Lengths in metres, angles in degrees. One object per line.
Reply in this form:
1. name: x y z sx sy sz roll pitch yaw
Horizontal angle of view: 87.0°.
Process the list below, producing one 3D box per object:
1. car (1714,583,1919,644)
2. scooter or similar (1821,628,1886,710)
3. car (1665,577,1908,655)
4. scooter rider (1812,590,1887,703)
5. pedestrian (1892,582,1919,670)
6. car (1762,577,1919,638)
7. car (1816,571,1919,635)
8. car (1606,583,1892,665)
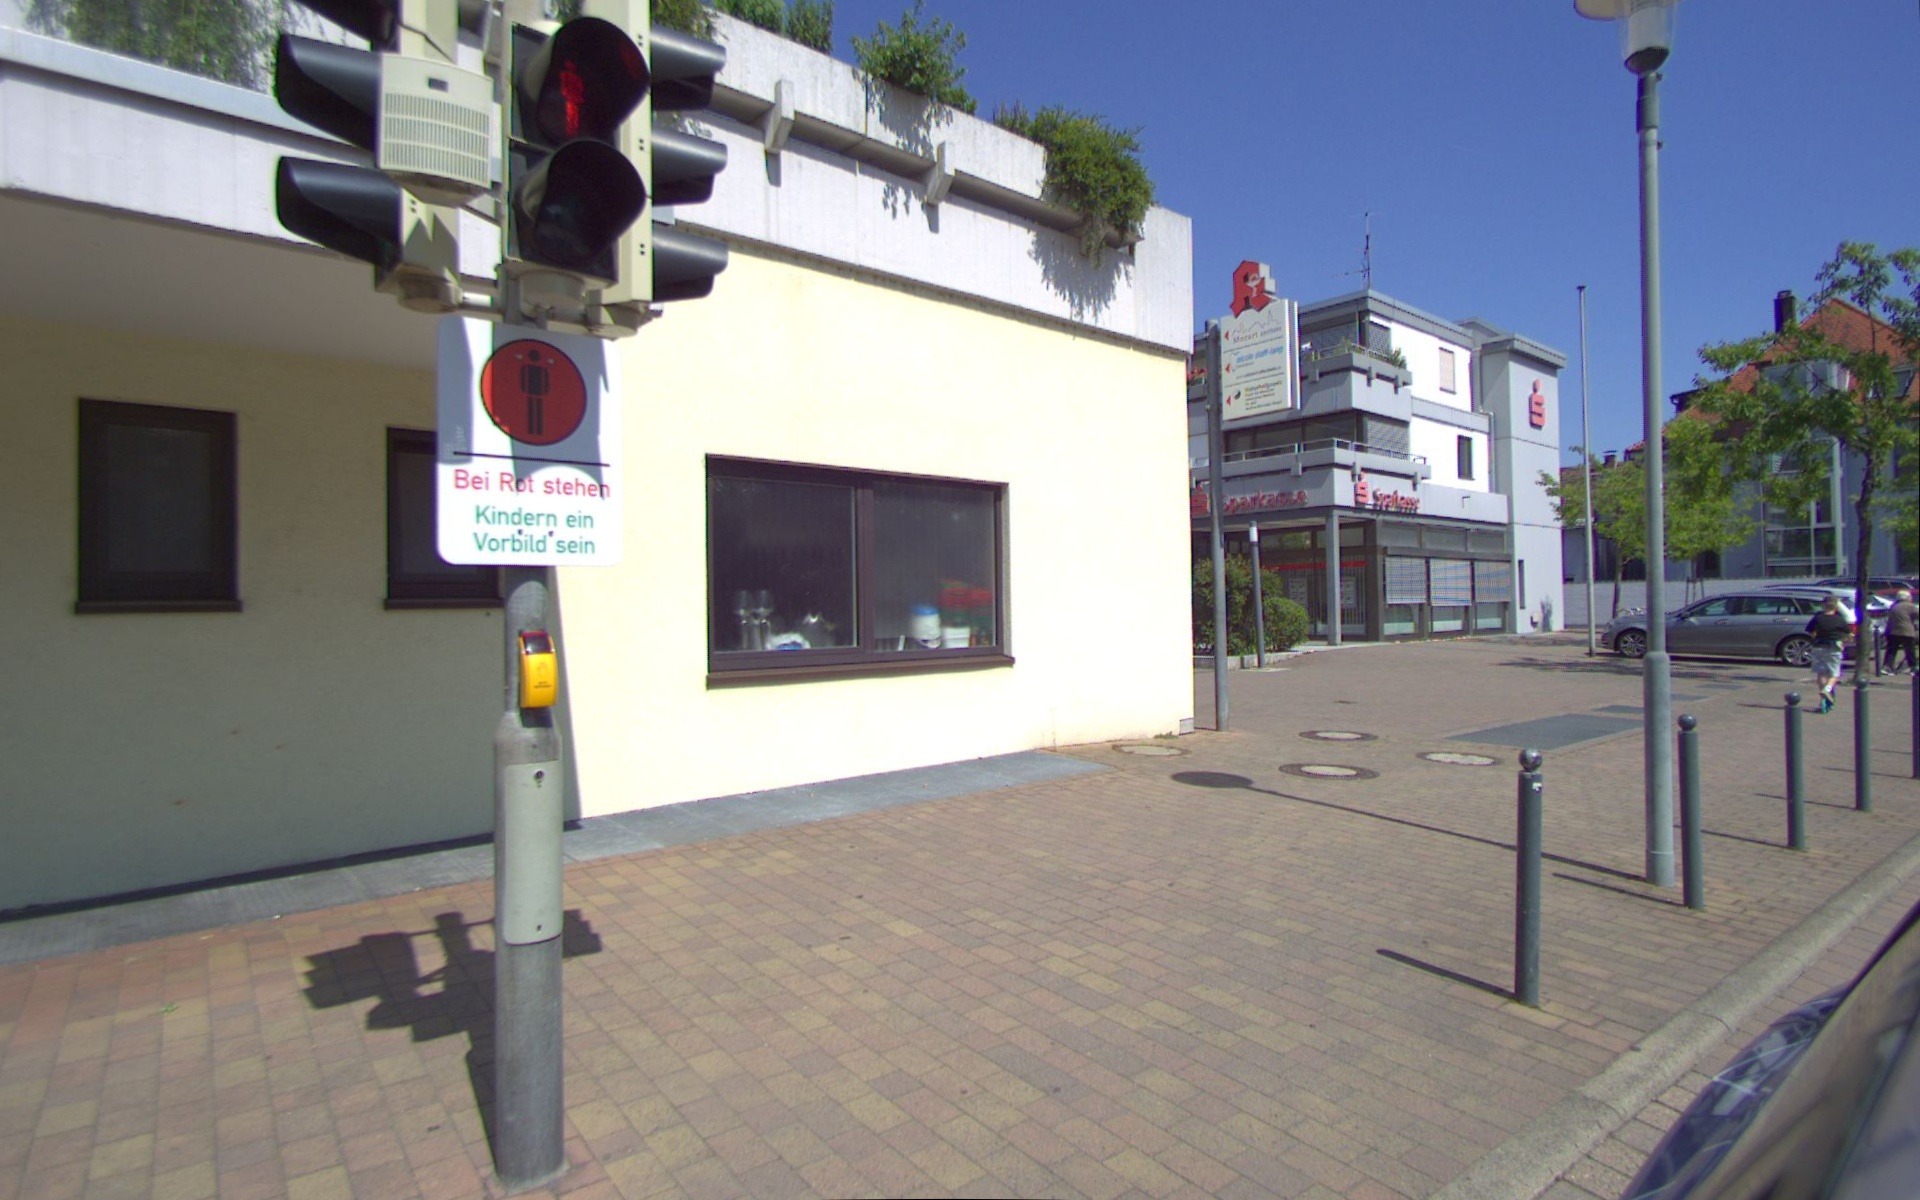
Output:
1. car: 22.189 0.286 25.942 1.630 1.460 4.434 -1 1 -45
2. scooter or similar: 11.212 0.848 12.695 0.942 0.977 0.412 1 -1 -35
3. car: 18.278 0.282 22.515 1.684 1.579 4.038 -1 1 -43
4. scooter rider: 11.168 0.557 12.693 1.112 1.341 0.463 -1 0 -36
5. pedestrian: 16.760 0.438 17.698 0.711 1.520 0.531 -1 0 -36
6. car: 24.125 0.194 27.509 1.465 1.571 3.425 -1 0 -42
7. car: 26.095 0.067 28.386 1.322 1.759 3.036 -1 1 -42
8. car: 16.058 0.401 20.783 1.662 1.484 4.437 -2 2 -43
